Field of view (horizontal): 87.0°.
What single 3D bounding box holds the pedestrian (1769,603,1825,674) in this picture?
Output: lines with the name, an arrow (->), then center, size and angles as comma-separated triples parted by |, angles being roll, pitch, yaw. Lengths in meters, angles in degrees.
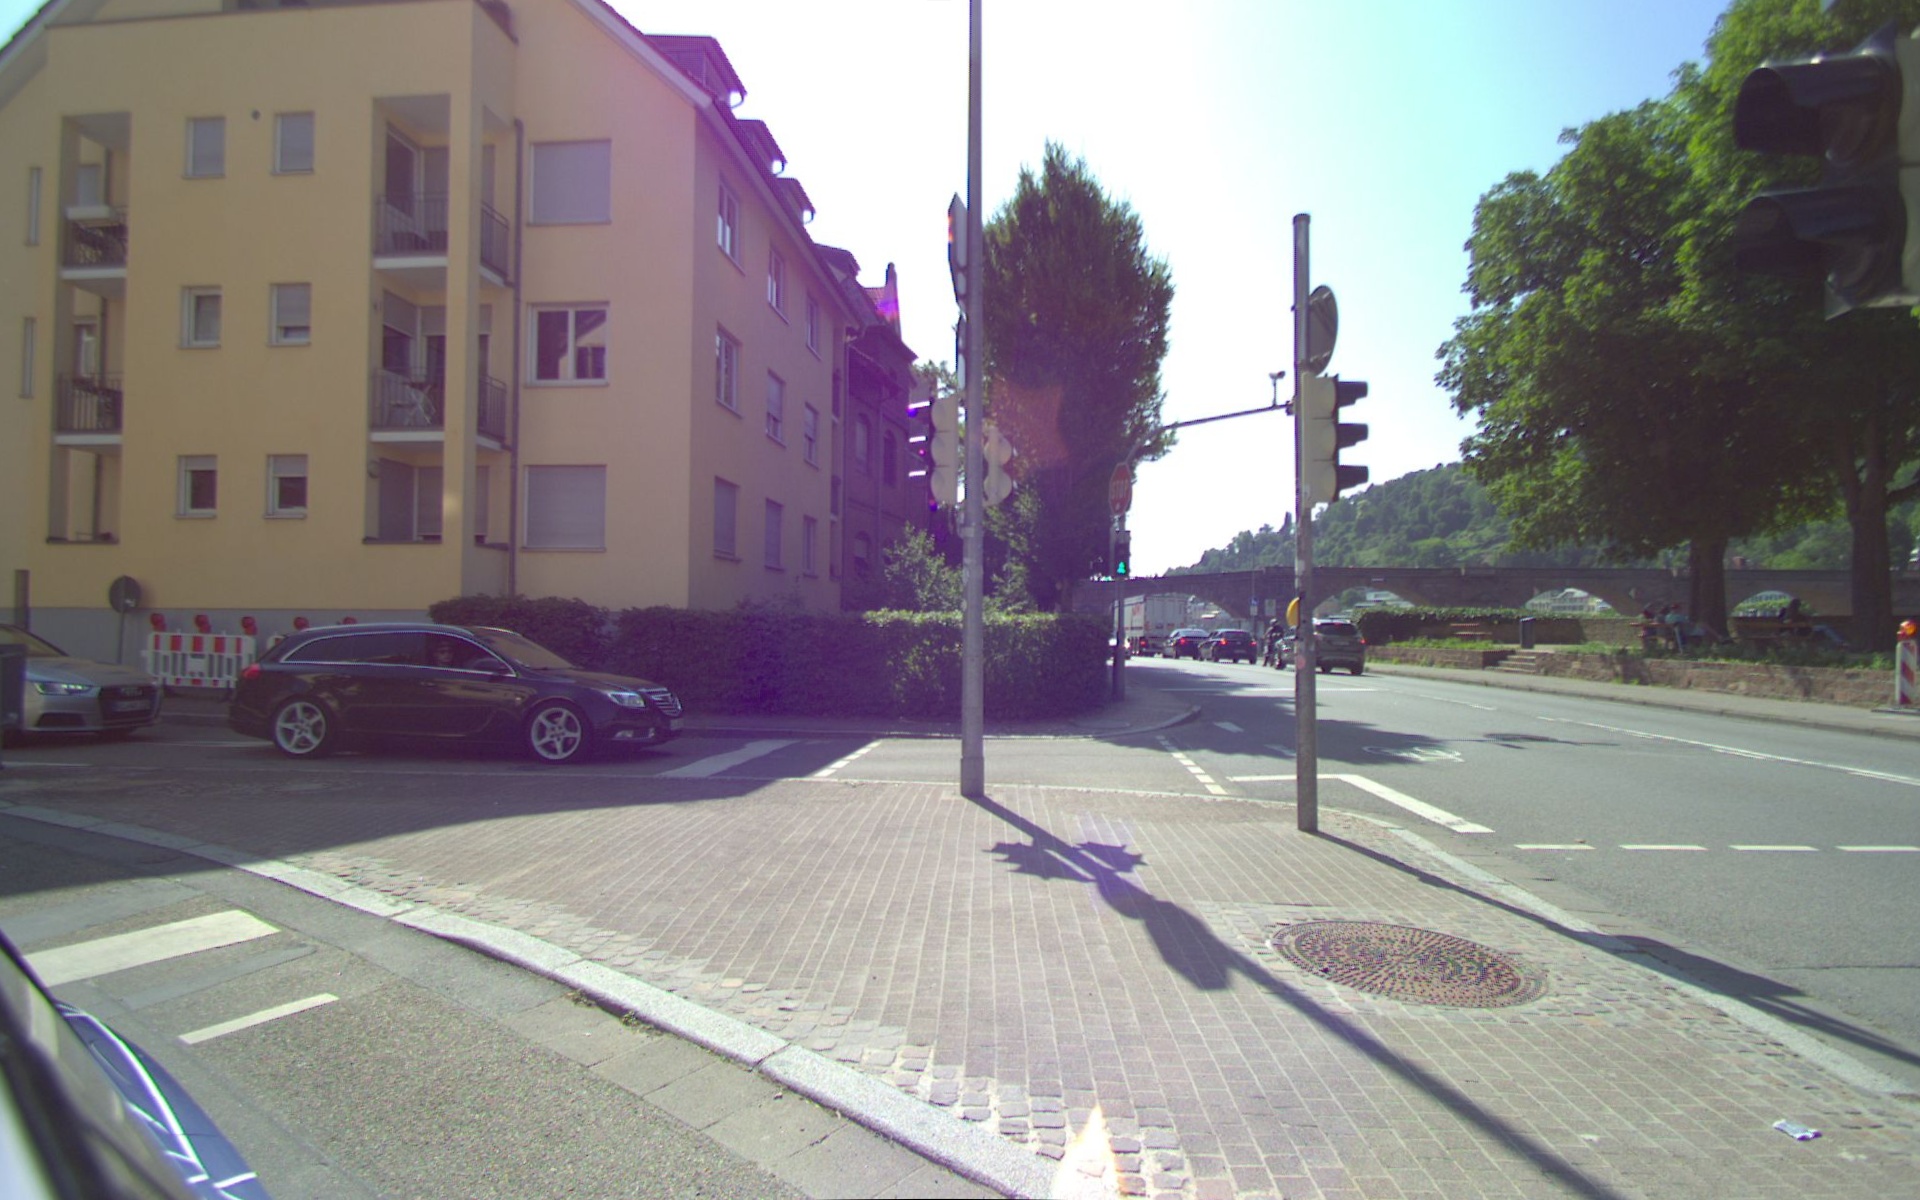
pedestrian -> 18.243, 0.835, 22.057 | 0.795, 1.504, 0.467 | 1, -2, 7

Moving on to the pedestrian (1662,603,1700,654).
pedestrian -> 18.431, 0.715, 25.863 | 0.624, 1.280, 0.467 | 1, -2, 7

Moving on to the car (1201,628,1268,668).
car -> 11.523, 1.994, 42.737 | 1.974, 1.608, 3.994 | 0, -2, 4

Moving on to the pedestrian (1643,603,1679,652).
pedestrian -> 18.516, 0.715, 26.745 | 0.624, 1.280, 0.467 | 1, -2, 7

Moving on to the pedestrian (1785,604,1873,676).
pedestrian -> 18.441, 0.844, 21.485 | 1.368, 1.490, 0.467 | 1, -2, 7

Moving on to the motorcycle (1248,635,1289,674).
motorcycle -> 11.432, 2.010, 37.570 | 0.753, 1.387, 2.471 | 1, -2, 0

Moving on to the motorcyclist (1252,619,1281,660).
motorcyclist -> 11.450, 1.472, 37.843 | 0.807, 1.506, 0.874 | 0, 1, 0

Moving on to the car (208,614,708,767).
car -> -5.351, 0.968, 11.186 | 4.661, 1.473, 1.718 | 1, -4, 2

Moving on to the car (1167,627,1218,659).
car -> 11.562, 2.130, 50.554 | 1.900, 1.519, 3.994 | 0, -2, 4

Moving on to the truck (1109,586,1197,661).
truck -> 11.957, 1.518, 64.041 | 3.169, 4.246, 12.762 | 1, -2, 0

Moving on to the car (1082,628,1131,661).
car -> 6.784, 2.035, 47.094 | 1.669, 1.466, 3.739 | -1, -1, -1

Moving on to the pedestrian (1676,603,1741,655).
pedestrian -> 18.690, 0.718, 25.283 | 1.209, 1.280, 0.467 | 1, -2, 7

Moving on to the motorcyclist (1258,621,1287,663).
motorcyclist -> 11.441, 1.545, 37.053 | 0.807, 1.504, 0.773 | 1, -2, 0

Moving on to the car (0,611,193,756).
car -> -11.631, 0.869, 11.587 | 4.324, 1.504, 1.876 | 1, -2, 2

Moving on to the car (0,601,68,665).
car -> -24.149, 0.798, 24.286 | 1.829, 1.556, 3.994 | 0, -1, 5

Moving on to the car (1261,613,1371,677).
car -> 11.183, 1.346, 32.127 | 1.818, 1.766, 4.409 | 3, -1, 0
